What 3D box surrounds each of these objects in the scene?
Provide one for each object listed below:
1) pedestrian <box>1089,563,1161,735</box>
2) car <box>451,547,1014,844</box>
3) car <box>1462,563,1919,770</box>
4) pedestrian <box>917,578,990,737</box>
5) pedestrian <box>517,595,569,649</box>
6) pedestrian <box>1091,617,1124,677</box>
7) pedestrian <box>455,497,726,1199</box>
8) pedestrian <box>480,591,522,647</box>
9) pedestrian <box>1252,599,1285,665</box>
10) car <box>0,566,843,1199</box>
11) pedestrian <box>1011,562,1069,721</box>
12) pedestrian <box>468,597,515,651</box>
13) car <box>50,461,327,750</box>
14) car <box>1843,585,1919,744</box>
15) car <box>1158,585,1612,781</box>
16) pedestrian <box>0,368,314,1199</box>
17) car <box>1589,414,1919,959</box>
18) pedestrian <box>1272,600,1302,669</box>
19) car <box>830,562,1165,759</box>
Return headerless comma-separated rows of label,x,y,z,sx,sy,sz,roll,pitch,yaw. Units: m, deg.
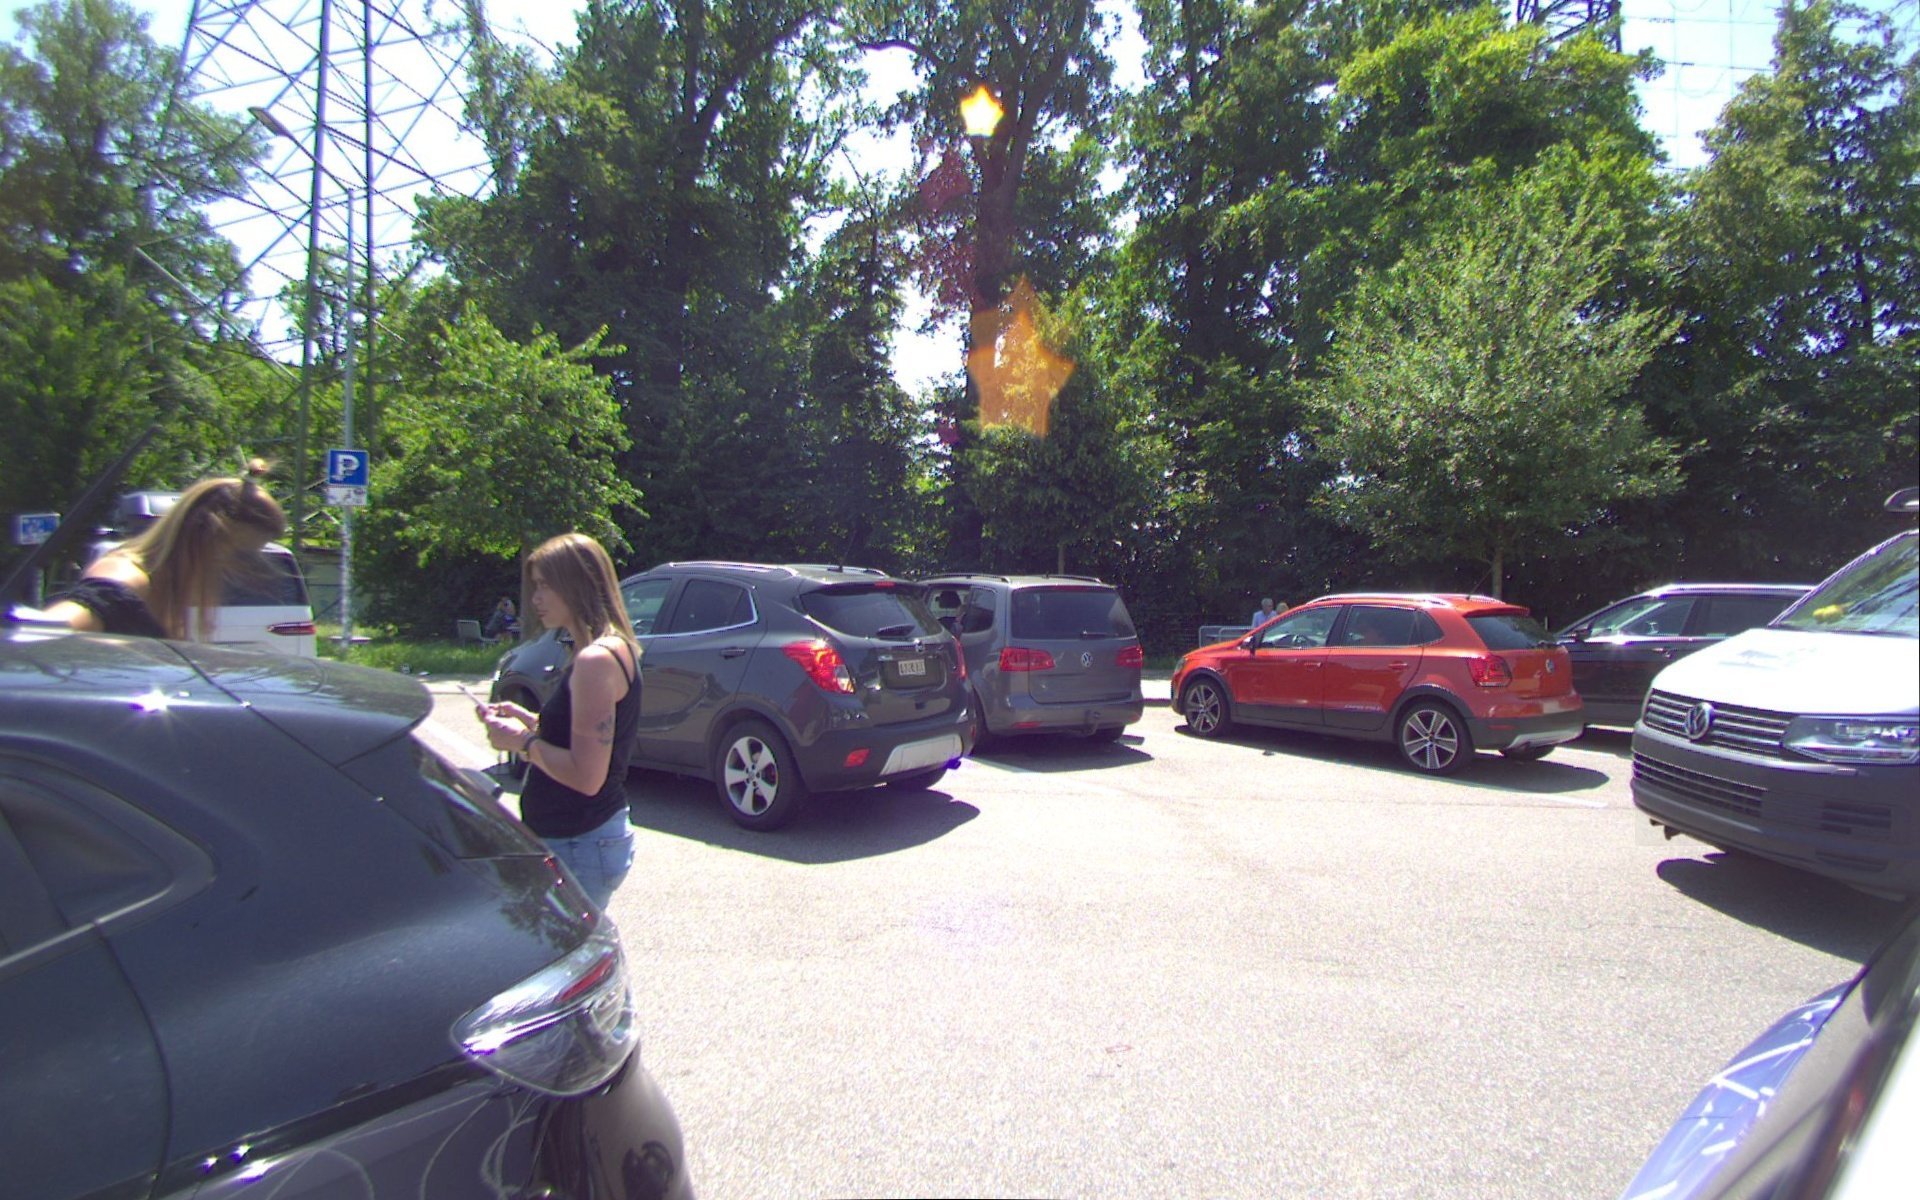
pedestrian,1.720,0.489,10.592,0.576,1.744,0.483,0,0,-20
car,-1.827,0.514,7.558,4.141,1.637,1.815,1,0,36
car,7.185,0.525,9.761,1.679,1.637,3.863,1,0,-40
pedestrian,-0.069,0.545,10.046,0.511,1.516,0.560,0,0,-30
pedestrian,-9.691,0.499,23.539,0.810,1.201,0.836,0,0,40
pedestrian,2.309,0.724,15.790,0.494,0.890,0.512,1,-1,10
pedestrian,-0.955,0.576,2.611,0.477,1.614,0.502,1,-1,-44
pedestrian,-11.098,0.448,24.477,0.539,1.318,0.758,0,0,37
pedestrian,5.795,0.593,19.014,0.433,1.207,0.414,0,0,-30
car,-2.046,0.717,0.786,1.776,1.476,3.629,0,1,43
pedestrian,0.902,0.451,11.436,0.500,1.744,0.438,0,0,-24
pedestrian,-10.507,0.516,22.691,0.785,1.178,0.696,0,0,39
car,-8.458,0.033,10.886,1.897,2.400,4.963,1,-1,-43
car,10.432,0.620,8.868,1.813,1.473,3.776,1,0,-36
car,3.828,0.626,9.687,1.588,1.485,3.751,1,0,-34
pedestrian,-1.836,0.506,2.404,0.478,1.883,0.913,1,-1,-33
car,6.232,0.357,4.691,5.336,2.131,1.842,1,1,4
pedestrian,5.768,0.603,17.872,0.348,1.207,0.367,0,0,-20
car,0.183,0.492,10.560,1.670,1.637,3.912,0,0,-30
